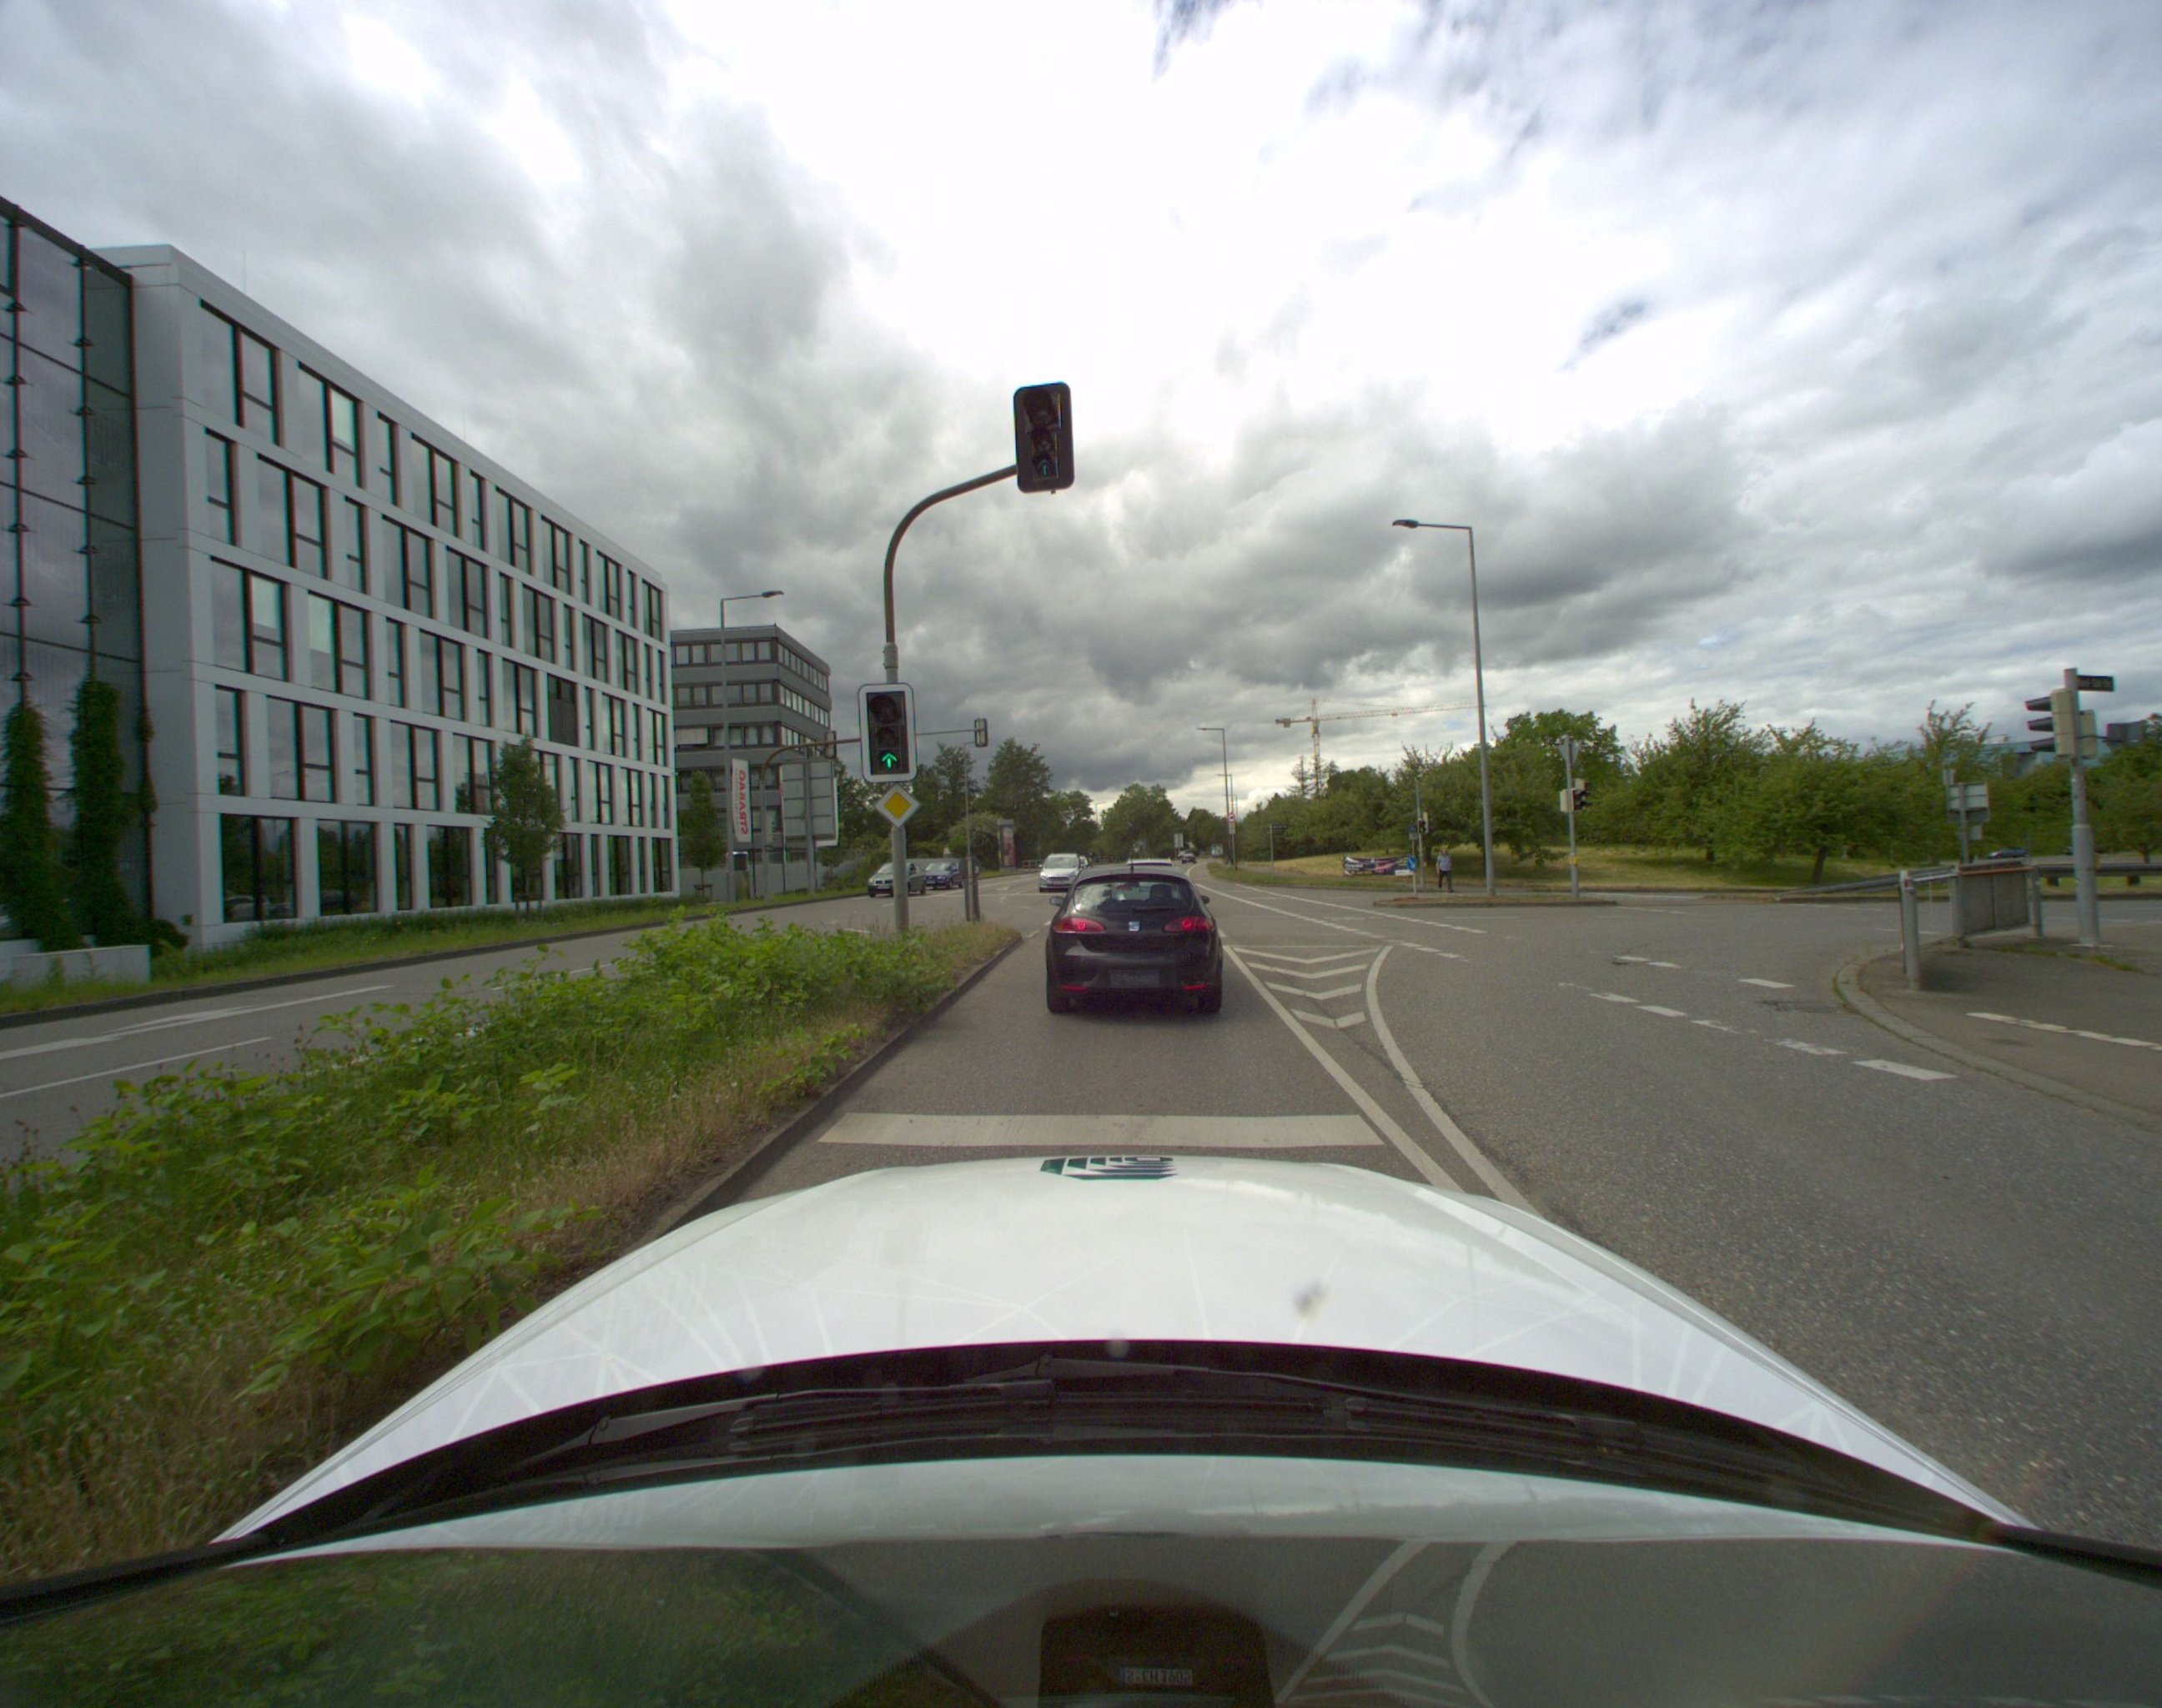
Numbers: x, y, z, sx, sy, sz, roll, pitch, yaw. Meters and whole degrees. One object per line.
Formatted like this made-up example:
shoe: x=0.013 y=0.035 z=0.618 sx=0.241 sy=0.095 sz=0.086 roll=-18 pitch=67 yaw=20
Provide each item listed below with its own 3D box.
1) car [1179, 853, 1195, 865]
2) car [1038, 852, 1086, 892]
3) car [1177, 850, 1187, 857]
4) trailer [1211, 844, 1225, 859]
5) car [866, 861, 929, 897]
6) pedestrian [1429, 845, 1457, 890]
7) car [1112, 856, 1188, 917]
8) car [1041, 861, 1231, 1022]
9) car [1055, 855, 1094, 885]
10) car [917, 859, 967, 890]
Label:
car: x=14.897 y=0.732 z=114.481 sx=1.981 sy=1.565 sz=4.483 roll=-2 pitch=0 yaw=9
car: x=-0.792 y=0.772 z=37.595 sx=1.813 sy=1.686 sz=4.649 roll=-1 pitch=0 yaw=3
car: x=22.886 y=-0.034 z=184.117 sx=1.702 sy=1.581 sz=3.756 roll=-1 pitch=-1 yaw=13
trailer: x=28.671 y=-0.516 z=170.575 sx=2.474 sy=3.073 sz=5.605 roll=-1 pitch=-1 yaw=12
car: x=-7.776 y=1.030 z=34.864 sx=1.598 sy=1.432 sz=3.756 roll=-1 pitch=0 yaw=4
pedestrian: x=14.632 y=0.549 z=32.921 sx=0.714 sy=1.793 sz=1.045 roll=-1 pitch=-1 yaw=5
car: x=1.778 y=0.822 z=21.666 sx=1.827 sy=1.467 sz=3.753 roll=-1 pitch=-1 yaw=3
car: x=0.554 y=0.810 z=9.139 sx=1.705 sy=1.417 sz=3.460 roll=-1 pitch=0 yaw=2
car: x=-0.306 y=0.825 z=43.568 sx=1.652 sy=1.518 sz=4.091 roll=-1 pitch=0 yaw=6
car: x=-7.073 y=1.021 z=41.676 sx=1.546 sy=1.419 sz=3.901 roll=-1 pitch=0 yaw=5
